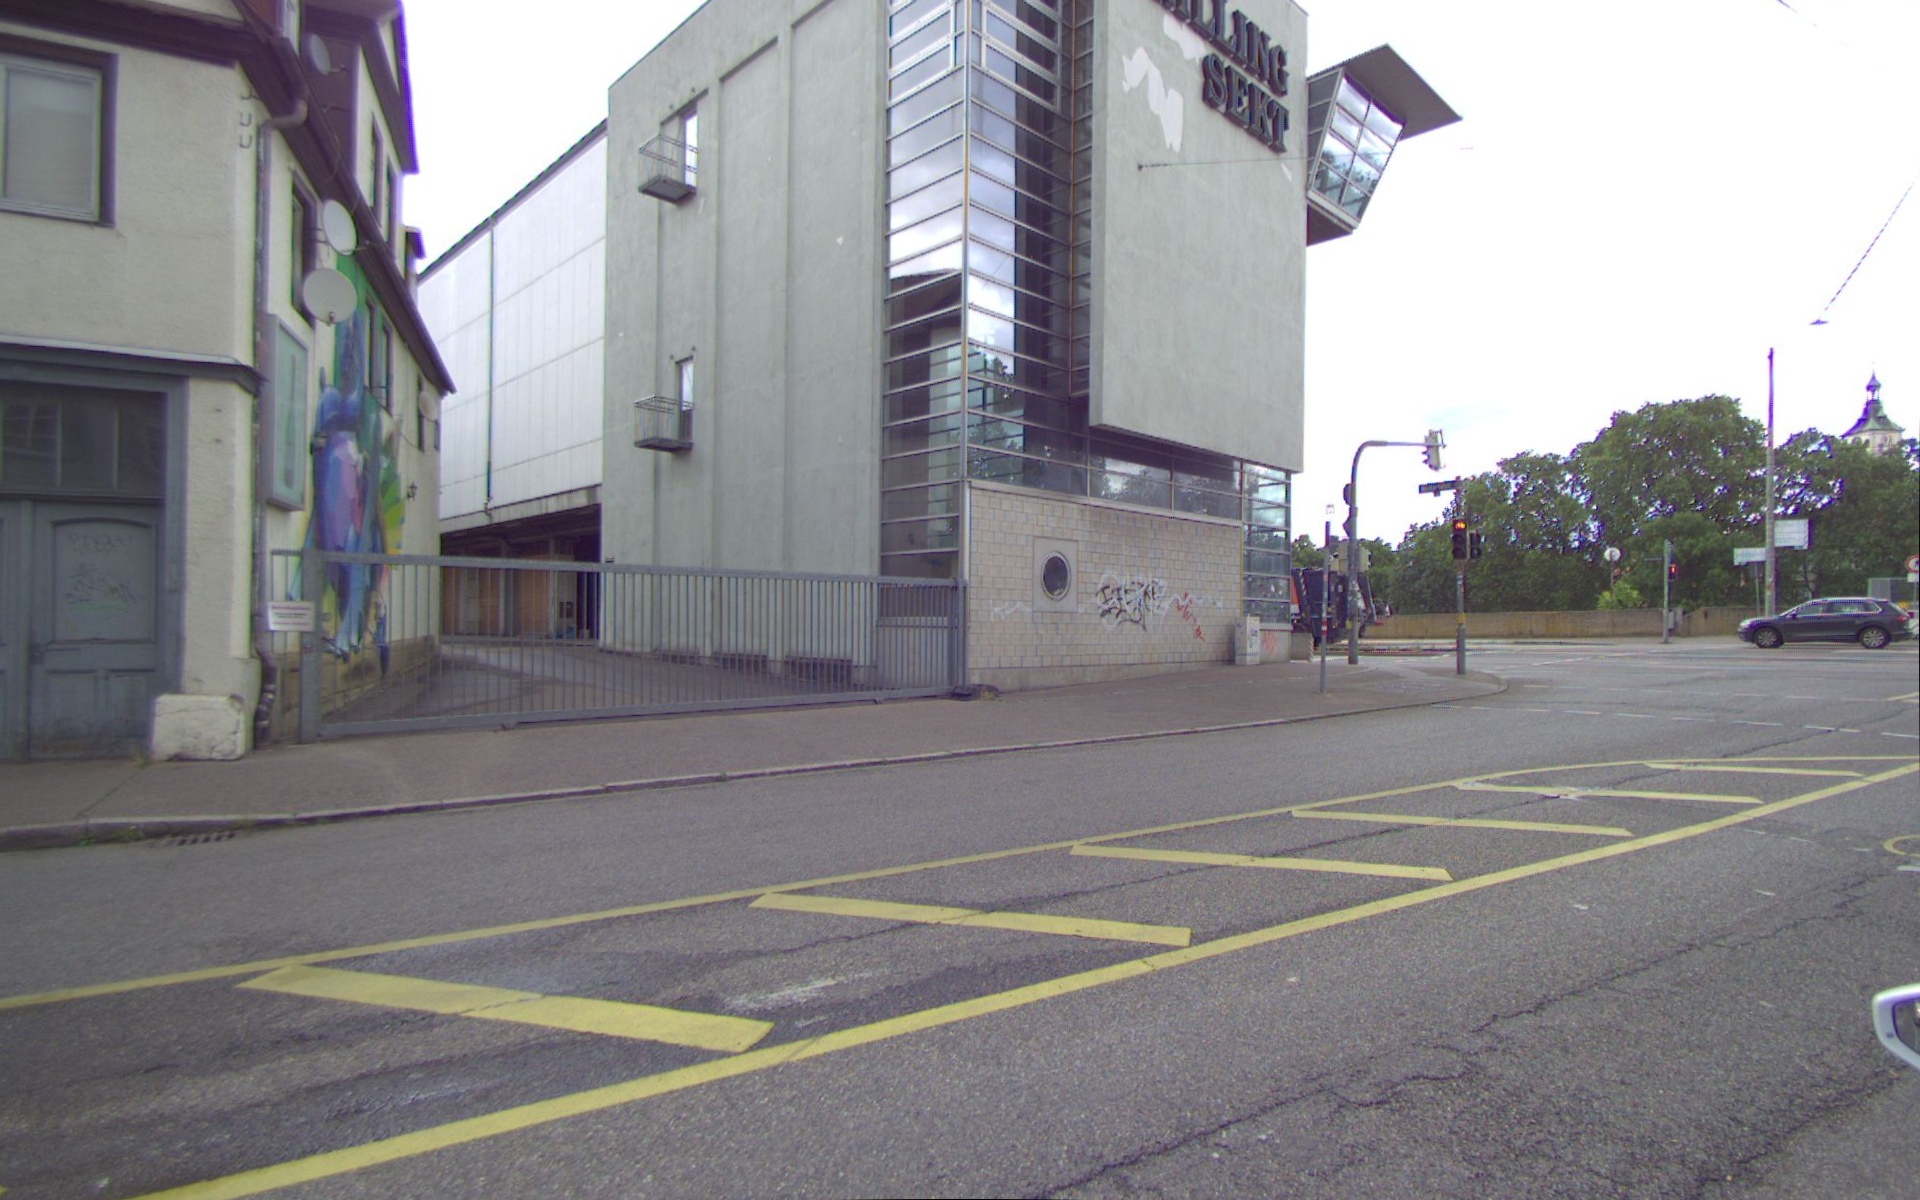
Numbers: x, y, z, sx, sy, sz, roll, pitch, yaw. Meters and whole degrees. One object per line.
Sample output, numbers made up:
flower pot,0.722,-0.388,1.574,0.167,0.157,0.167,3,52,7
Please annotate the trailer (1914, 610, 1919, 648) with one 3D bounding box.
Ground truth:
trailer,31.325,0.905,30.693,3.167,1.173,1.988,0,-1,44

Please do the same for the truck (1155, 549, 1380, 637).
truck,14.097,-0.296,46.973,10.070,3.745,2.259,0,-1,42

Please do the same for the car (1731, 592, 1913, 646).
car,28.584,0.677,33.403,4.472,1.655,1.988,-2,-3,44
